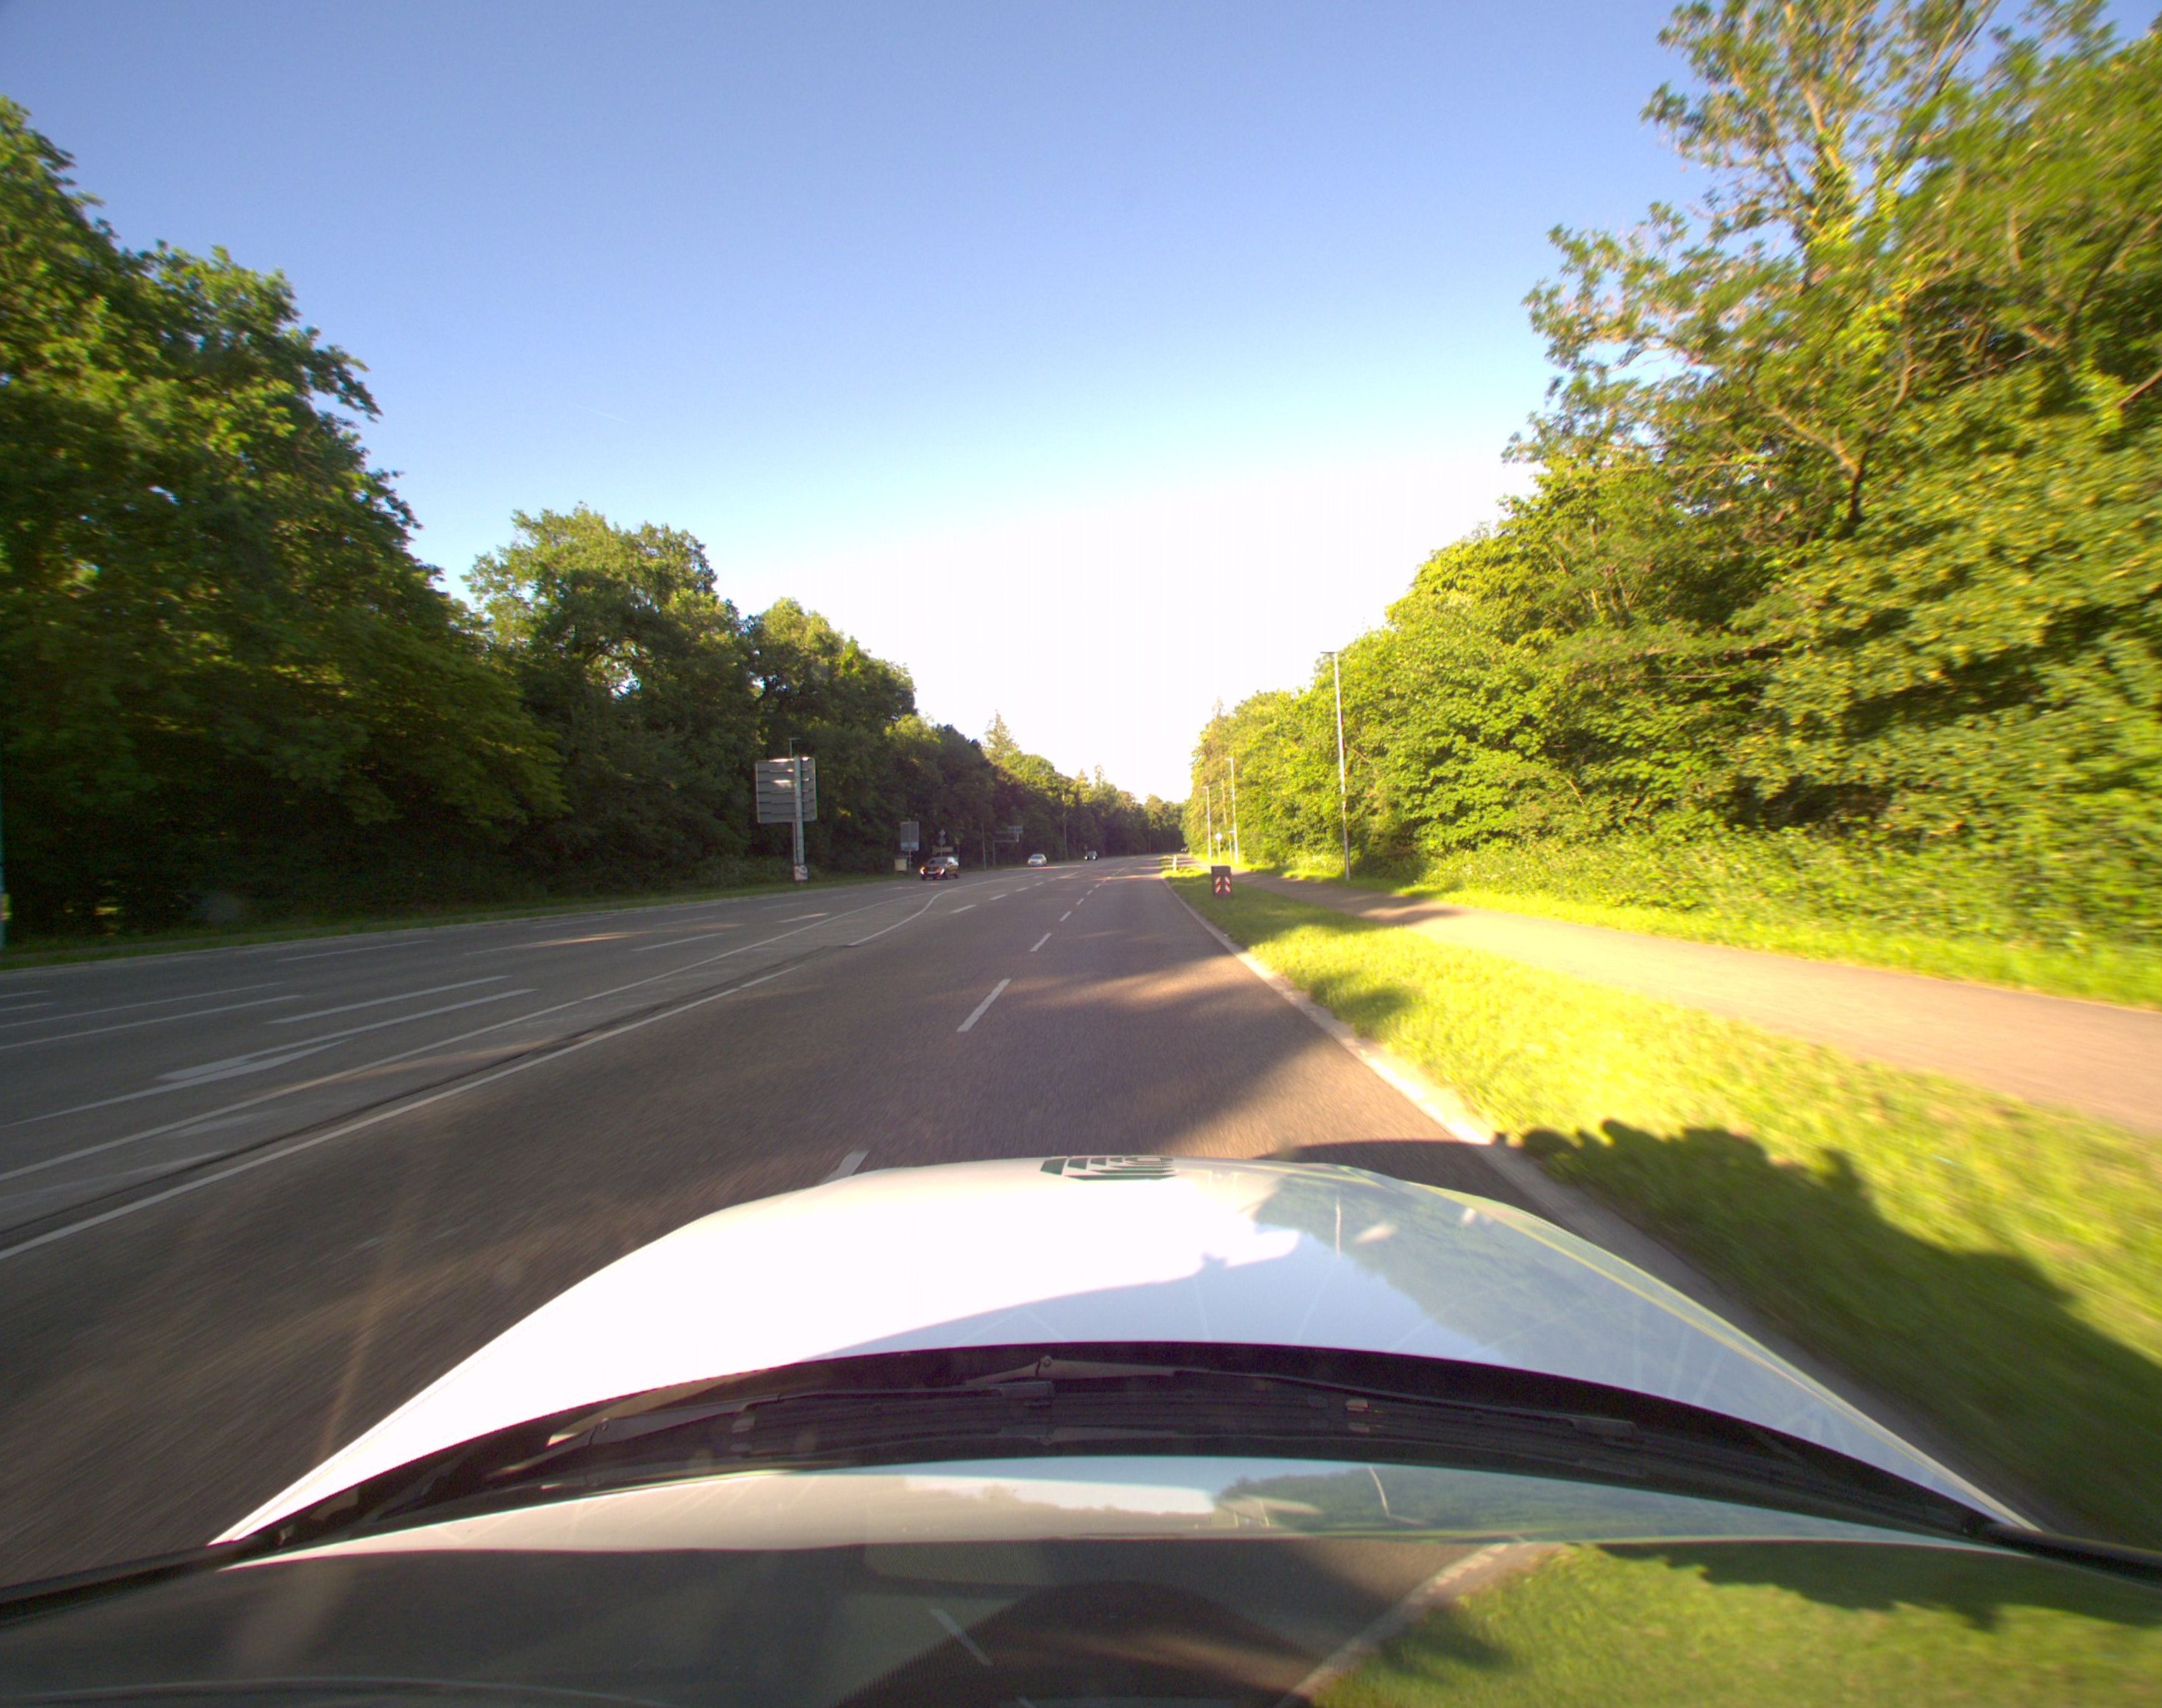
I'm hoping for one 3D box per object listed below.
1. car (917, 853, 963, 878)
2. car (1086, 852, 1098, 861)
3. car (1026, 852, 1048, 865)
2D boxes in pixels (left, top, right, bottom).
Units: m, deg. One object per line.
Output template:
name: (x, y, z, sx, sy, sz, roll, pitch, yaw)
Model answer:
car: (-9.351, 0.722, 54.246, 1.815, 1.544, 4.265, -2, 0, 7)
car: (1.985, 0.473, 149.943, 1.816, 1.589, 4.358, -1, 0, 5)
car: (-5.140, 0.529, 95.609, 1.816, 1.504, 4.313, -2, 0, 5)
